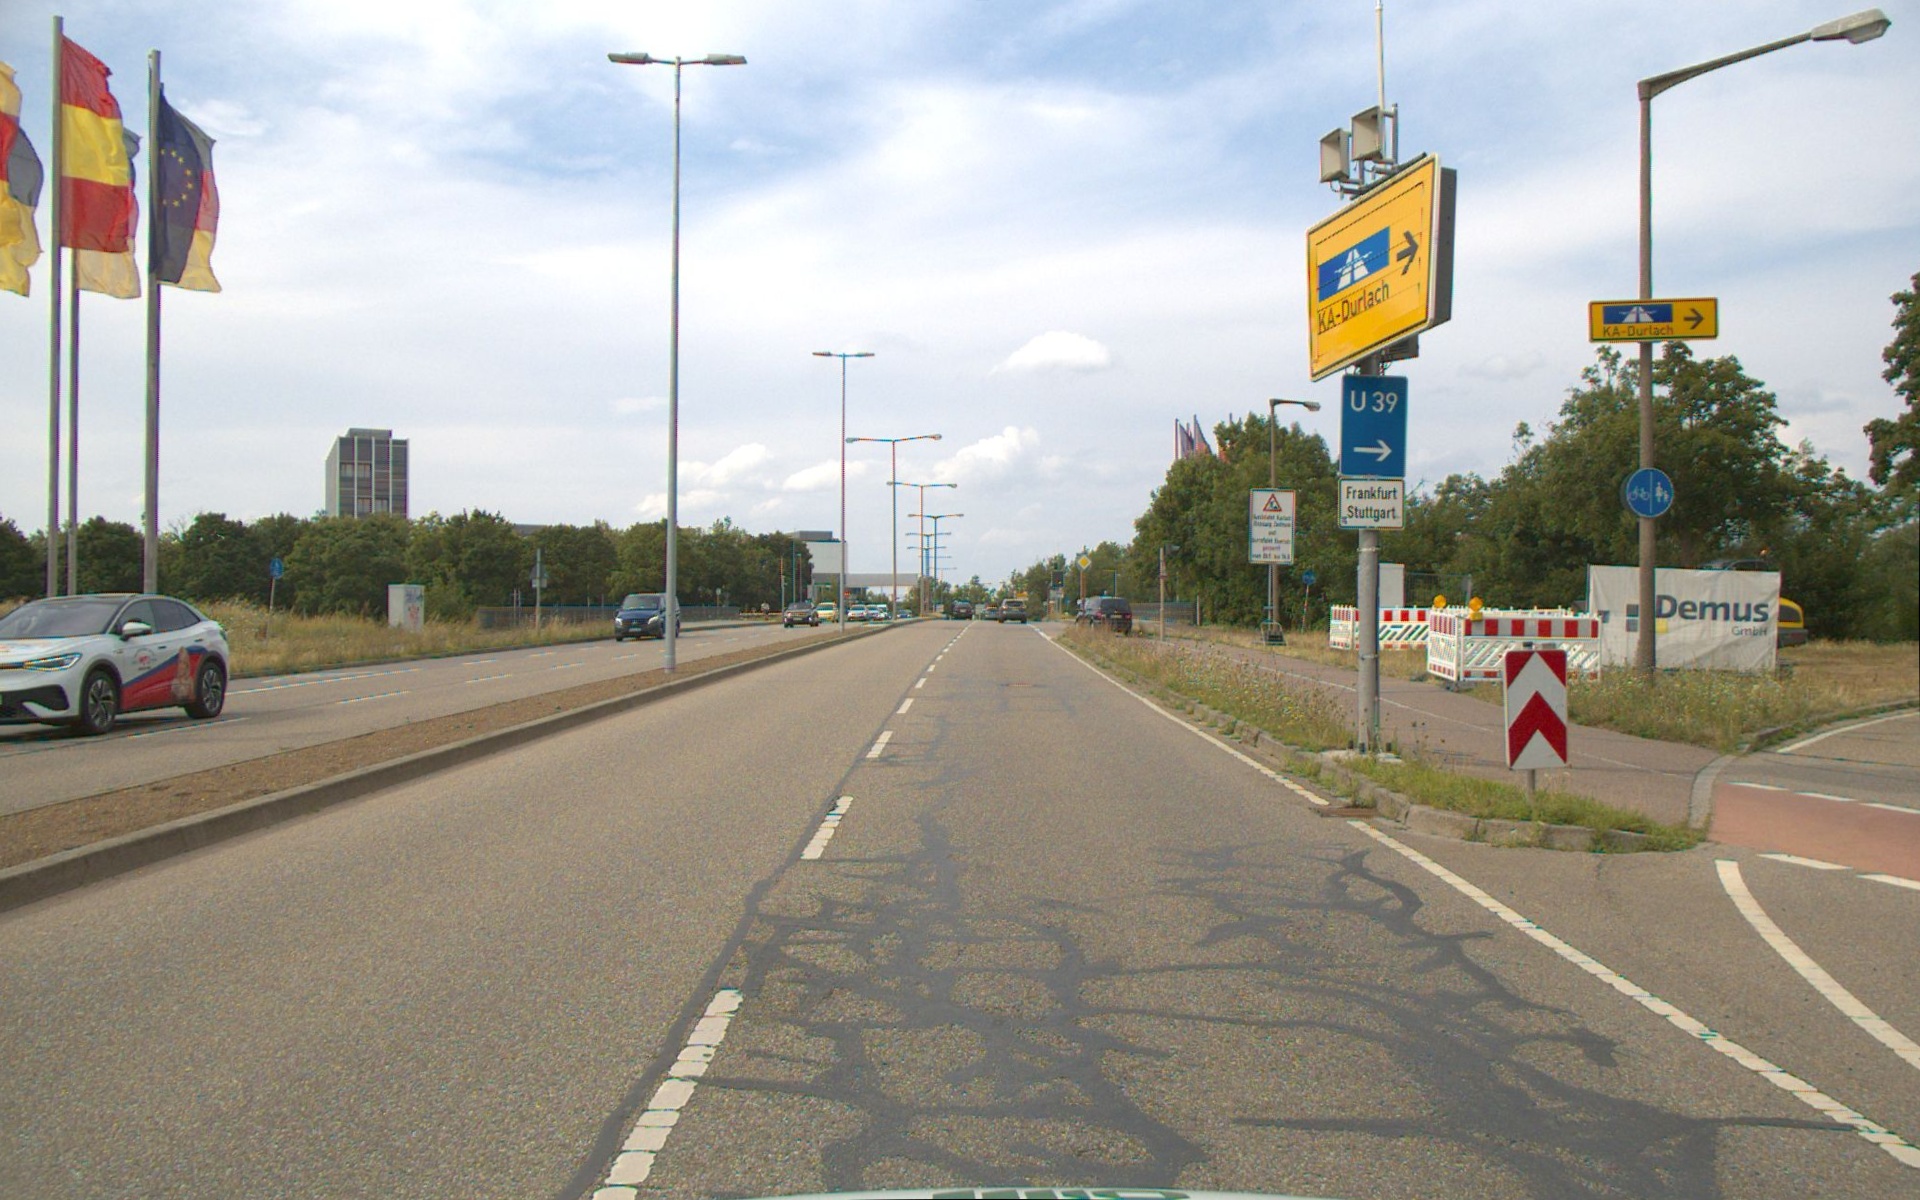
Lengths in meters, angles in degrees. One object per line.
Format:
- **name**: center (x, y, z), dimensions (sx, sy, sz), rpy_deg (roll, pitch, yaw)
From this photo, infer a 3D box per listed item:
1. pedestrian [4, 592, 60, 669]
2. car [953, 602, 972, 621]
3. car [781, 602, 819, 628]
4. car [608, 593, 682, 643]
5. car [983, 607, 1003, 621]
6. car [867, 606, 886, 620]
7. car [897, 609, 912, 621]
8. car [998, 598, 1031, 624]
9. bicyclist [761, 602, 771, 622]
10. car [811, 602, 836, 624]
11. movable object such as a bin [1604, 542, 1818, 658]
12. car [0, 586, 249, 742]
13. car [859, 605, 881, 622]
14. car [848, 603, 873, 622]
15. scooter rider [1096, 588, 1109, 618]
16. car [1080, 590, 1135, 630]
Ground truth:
- **pedestrian**: center (-21.192, 0.693, 37.776), dimensions (0.848, 1.722, 0.679), rpy_deg (-1, 0, -1)
- **car**: center (0.220, 1.098, 157.145), dimensions (1.695, 1.682, 4.115), rpy_deg (1, -1, 1)
- **car**: center (-9.499, 0.874, 98.501), dimensions (1.727, 1.466, 4.177), rpy_deg (-2, 0, 1)
- **car**: center (-13.062, 0.712, 68.894), dimensions (1.809, 1.927, 5.506), rpy_deg (2, 0, 2)
- **car**: center (3.795, 1.628, 192.884), dimensions (1.698, 1.553, 4.107), rpy_deg (1, -1, -8)
- **car**: center (-9.733, 1.528, 193.502), dimensions (1.702, 1.506, 4.473), rpy_deg (-2, -1, 4)
- **car**: center (-7.323, 2.038, 219.342), dimensions (1.702, 1.506, 4.776), rpy_deg (-2, -1, 1)
- **car**: center (3.688, 0.745, 112.677), dimensions (1.697, 1.682, 4.109), rpy_deg (1, -1, -6)
- **bicyclist**: center (-16.625, 1.037, 141.753), dimensions (0.779, 1.655, 0.976), rpy_deg (1, -1, -2)
- **car**: center (-10.469, 0.997, 127.002), dimensions (1.517, 1.605, 3.691), rpy_deg (-2, 0, 1)
- **movable object such as a bin**: center (18.657, 0.005, 41.255), dimensions (4.406, 2.736, 2.103), rpy_deg (1, -1, 5)
- **car**: center (-10.567, 0.684, 20.167), dimensions (1.809, 1.629, 4.561), rpy_deg (-1, 1, 0)
- **car**: center (-9.415, 1.426, 172.606), dimensions (1.824, 1.755, 4.771), rpy_deg (-2, -1, 2)
- **car**: center (-8.592, 1.054, 142.638), dimensions (1.615, 1.542, 4.018), rpy_deg (-2, 0, 4)
- **scooter rider**: center (8.180, 0.160, 95.146), dimensions (0.576, 1.720, 0.742), rpy_deg (1, -1, -7)
- **car**: center (6.623, 0.474, 74.378), dimensions (1.697, 1.682, 4.109), rpy_deg (1, -1, -6)
